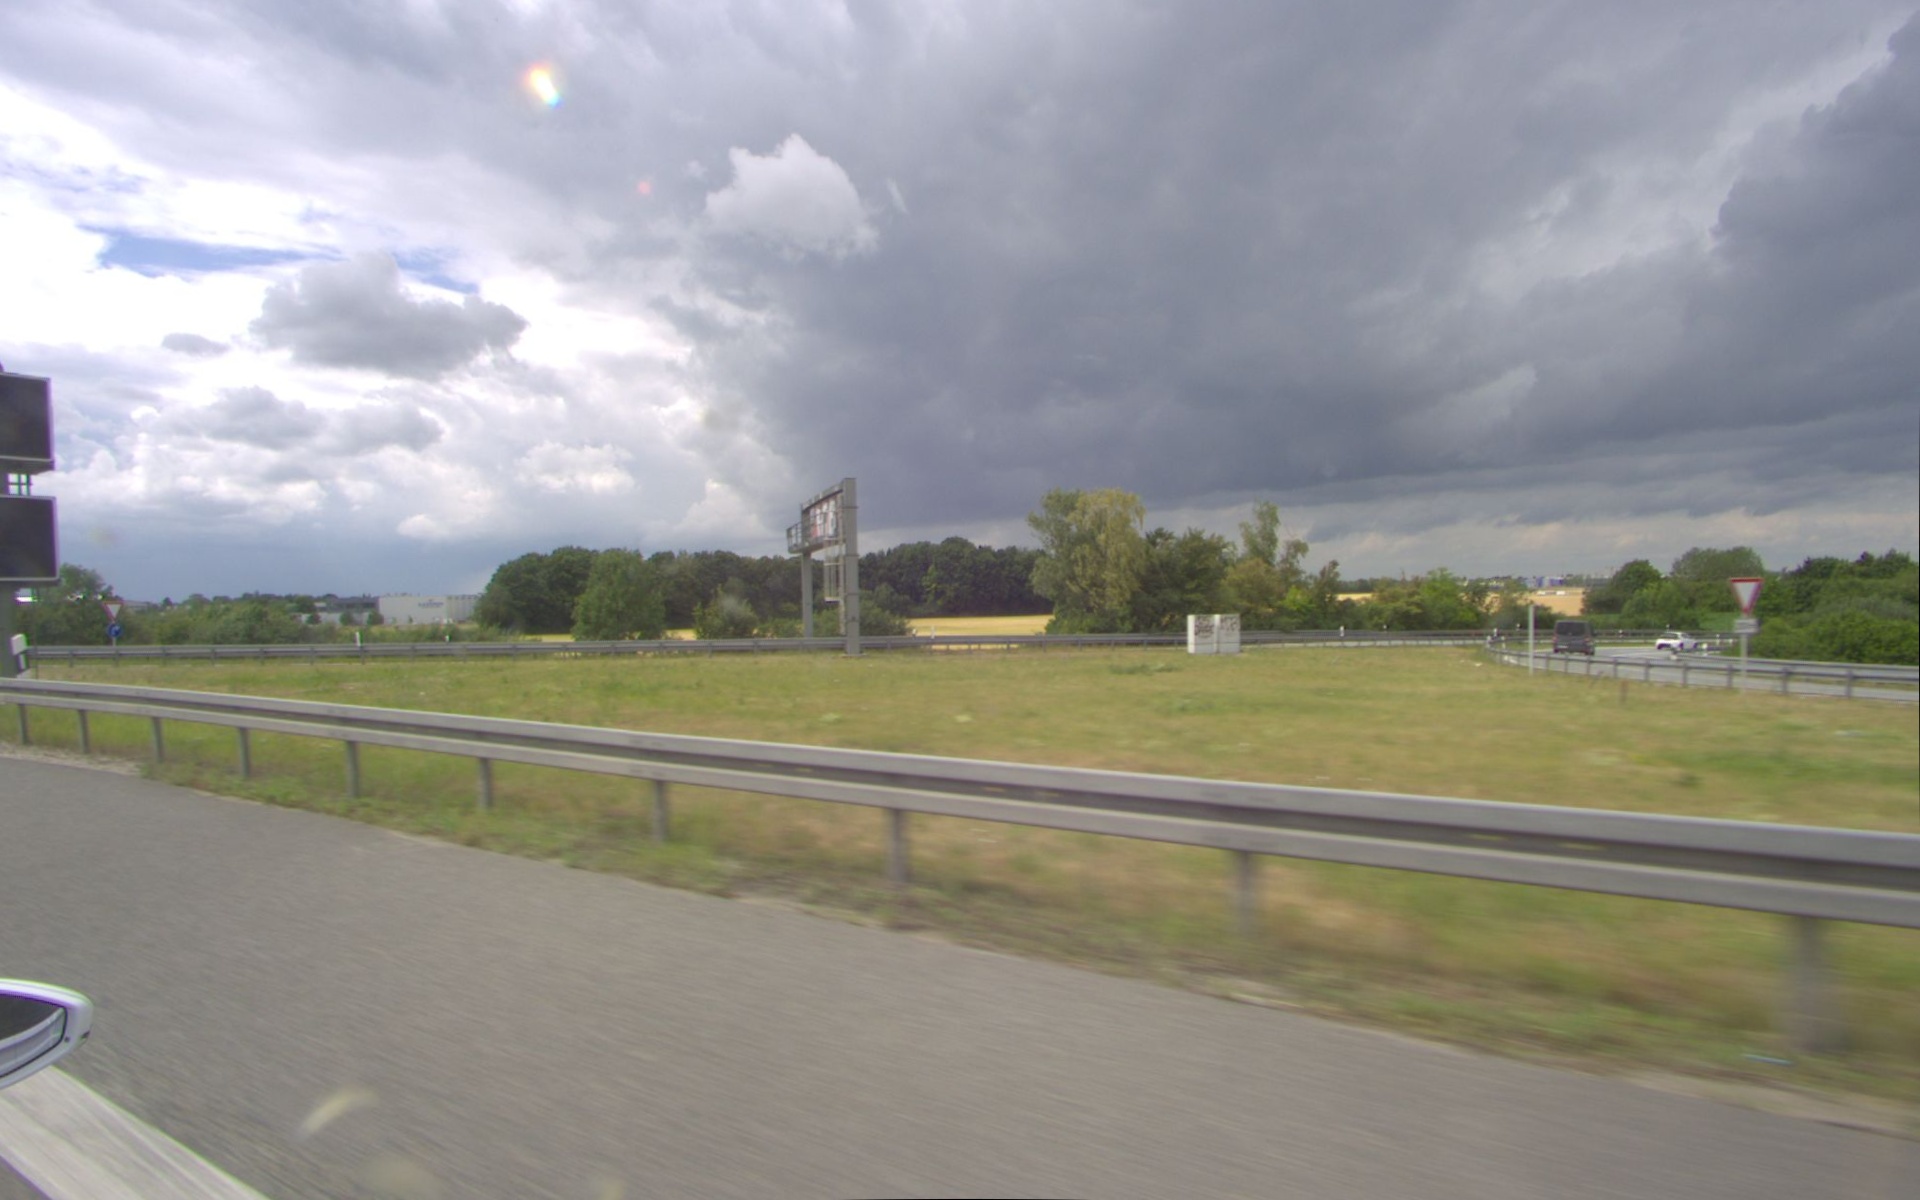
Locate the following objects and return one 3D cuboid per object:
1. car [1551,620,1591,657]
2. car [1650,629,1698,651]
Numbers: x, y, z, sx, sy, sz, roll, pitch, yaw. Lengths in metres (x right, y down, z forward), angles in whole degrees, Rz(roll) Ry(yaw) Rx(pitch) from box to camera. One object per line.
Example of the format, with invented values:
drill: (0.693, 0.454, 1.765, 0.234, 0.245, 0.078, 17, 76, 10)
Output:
car: (39.446, 2.426, 64.594, 1.887, 2.291, 4.621, 0, 0, 35)
car: (59.306, 3.280, 83.180, 3.948, 1.731, 1.987, 1, 0, -34)
